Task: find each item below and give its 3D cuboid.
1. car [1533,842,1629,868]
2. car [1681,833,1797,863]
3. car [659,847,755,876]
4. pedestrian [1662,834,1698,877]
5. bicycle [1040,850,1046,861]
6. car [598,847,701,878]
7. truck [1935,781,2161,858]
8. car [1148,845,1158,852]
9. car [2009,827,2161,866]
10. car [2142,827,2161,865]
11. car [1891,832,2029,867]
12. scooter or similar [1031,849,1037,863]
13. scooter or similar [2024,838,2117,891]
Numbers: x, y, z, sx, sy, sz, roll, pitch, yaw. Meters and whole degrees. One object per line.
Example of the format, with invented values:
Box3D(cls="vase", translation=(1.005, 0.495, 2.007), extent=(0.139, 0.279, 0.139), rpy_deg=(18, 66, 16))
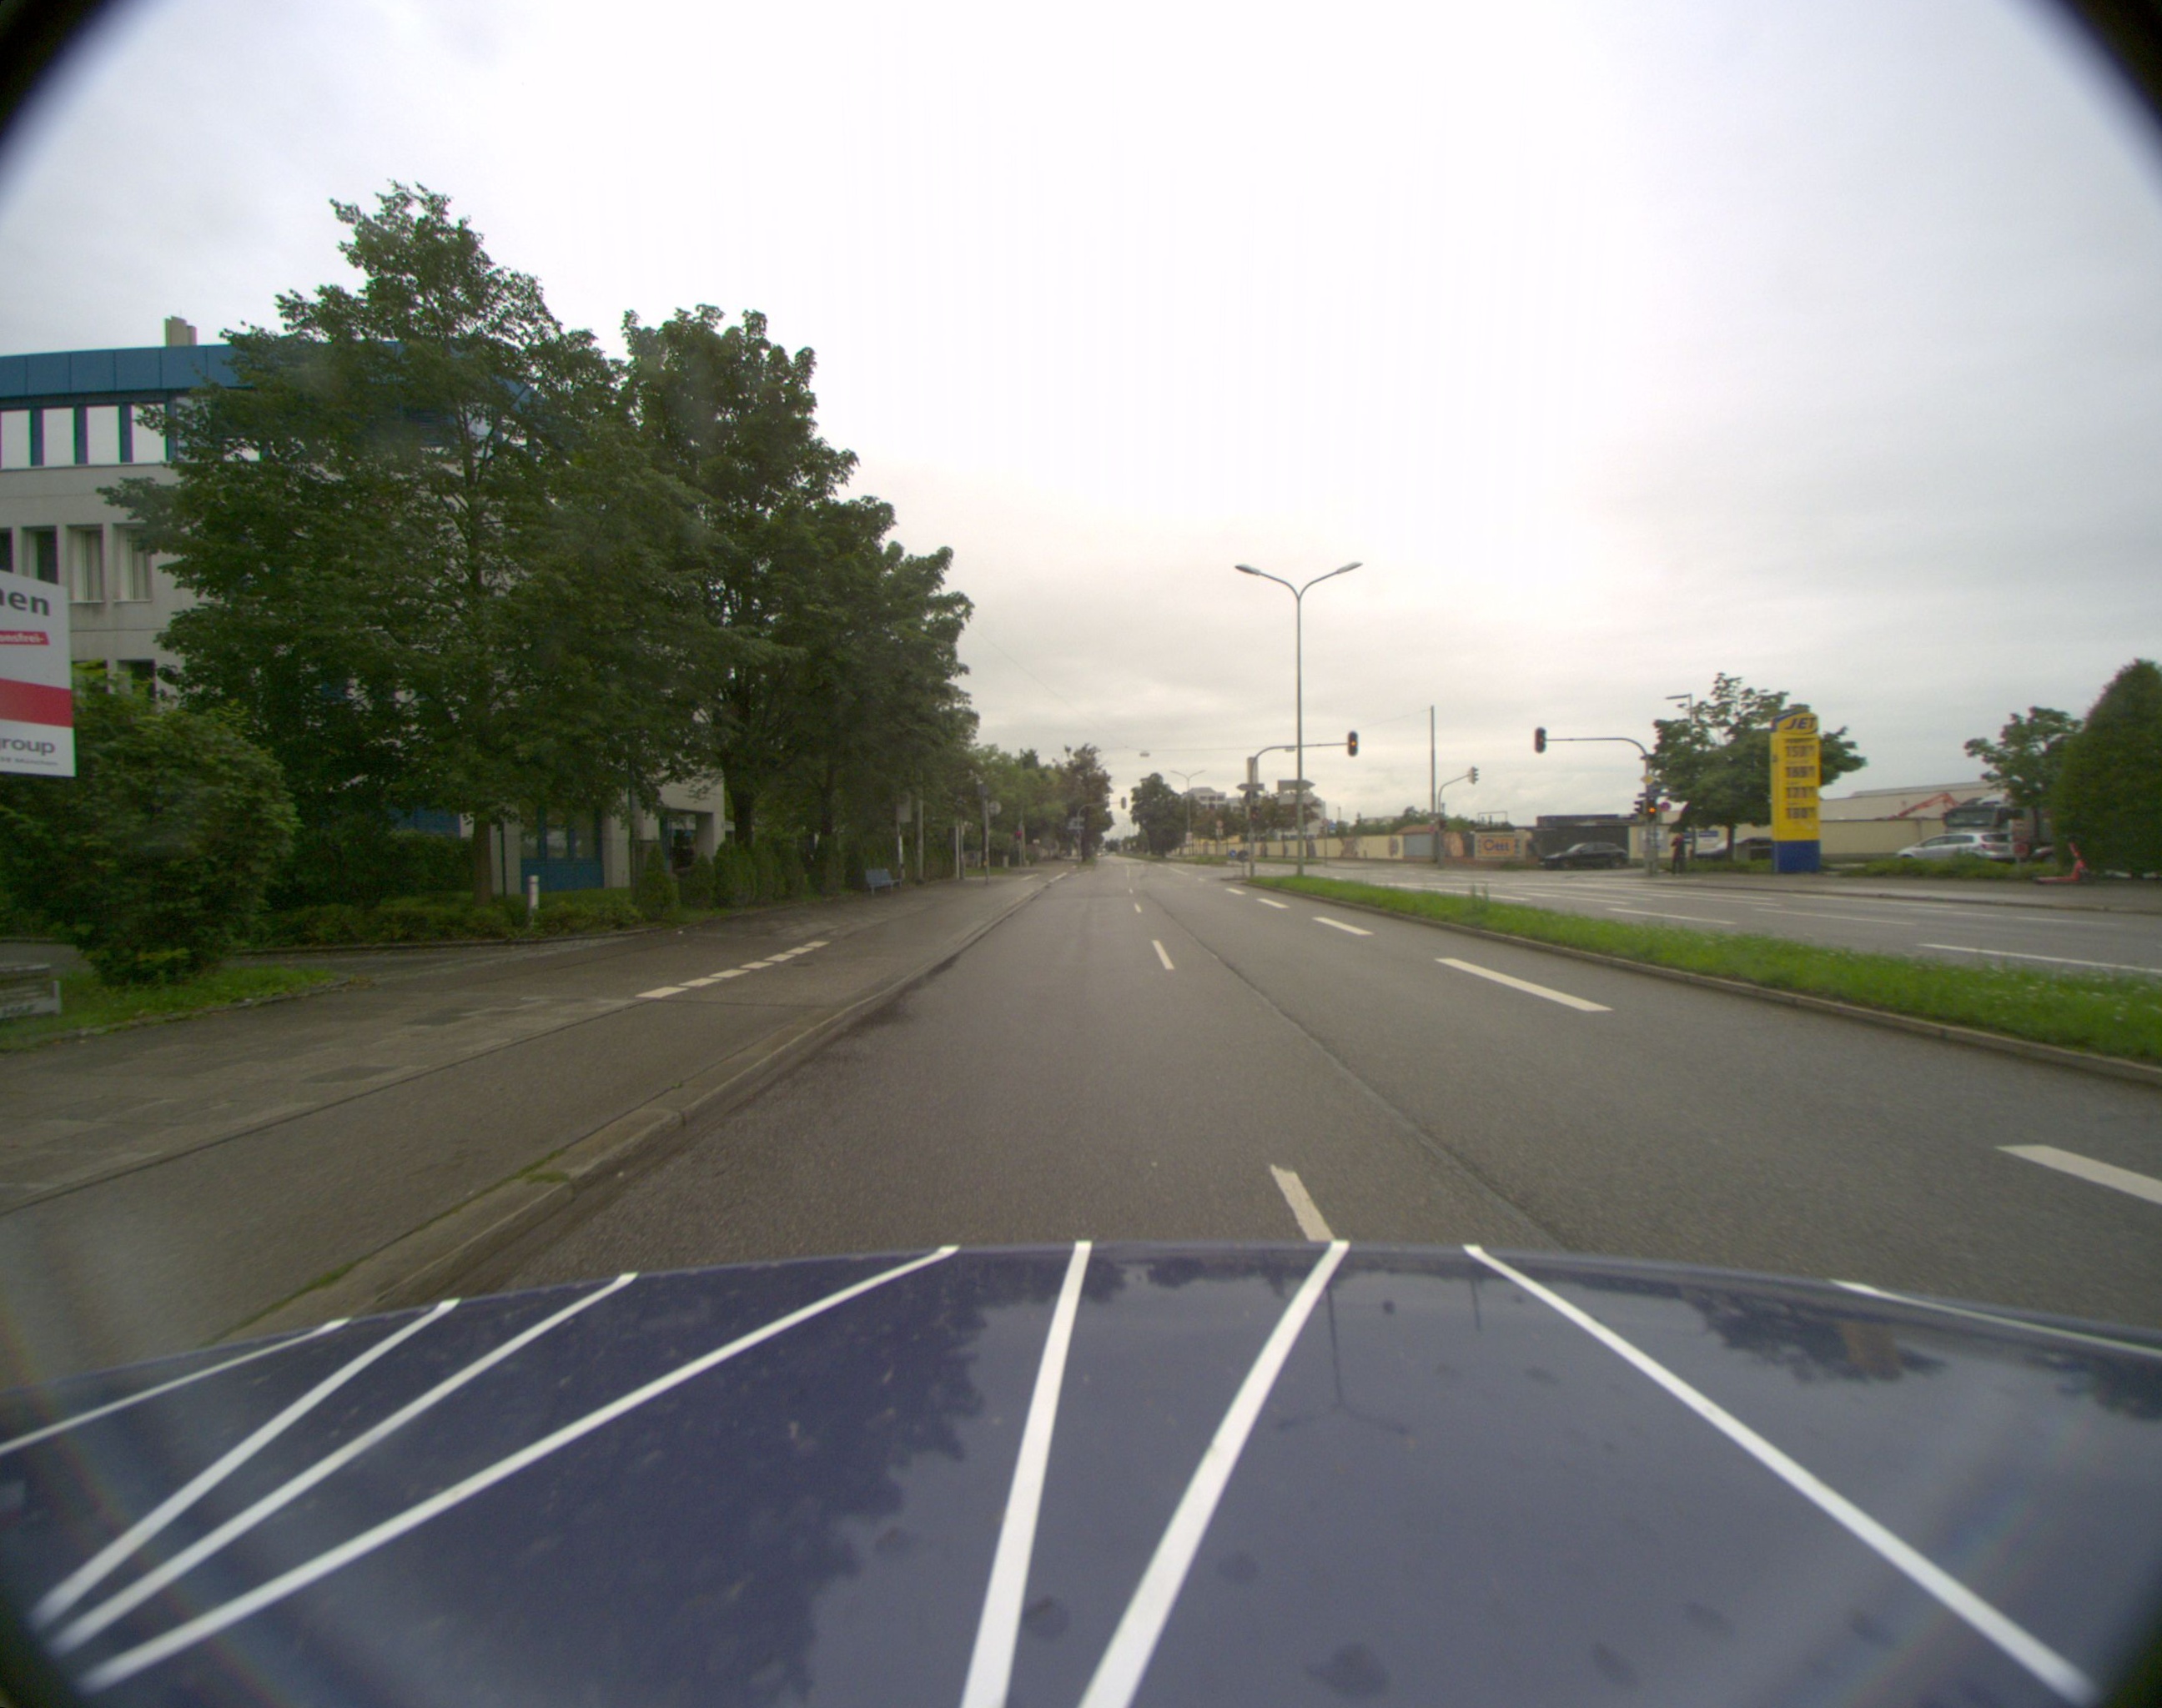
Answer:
Box3D(cls="car", translation=(29.516, 0.037, 44.962), extent=(4.260, 1.419, 2.000), rpy_deg=(-1, 0, 4))
Box3D(cls="car", translation=(36.592, -0.315, 42.358), extent=(4.628, 1.524, 2.000), rpy_deg=(-1, 1, 4))
Box3D(cls="car", translation=(-18.814, 0.359, 38.240), extent=(4.167, 1.410, 1.872), rpy_deg=(0, 1, 18))
Box3D(cls="pedestrian", translation=(23.685, 0.058, 30.066), extent=(0.804, 1.605, 0.687), rpy_deg=(-3, 1, 1))
Box3D(cls="bicycle", translation=(-4.670, 0.183, 93.772), extent=(0.583, 1.288, 2.454), rpy_deg=(0, 1, -1))
Box3D(cls="car", translation=(-20.335, 0.380, 35.822), extent=(4.167, 1.410, 1.872), rpy_deg=(0, 1, 18))
Box3D(cls="truck", translation=(54.407, -1.871, 41.471), extent=(11.923, 3.833, 2.610), rpy_deg=(-1, 1, 4))
Box3D(cls="car", translation=(15.315, -1.226, 161.326), extent=(1.916, 1.498, 4.439), rpy_deg=(0, 0, 2))
Box3D(cls="car", translation=(39.047, -0.290, 28.985), extent=(1.704, 1.376, 4.359), rpy_deg=(0, 0, -8))
Box3D(cls="car", translation=(42.430, -0.301, 27.835), extent=(1.627, 1.477, 3.979), rpy_deg=(0, 0, 3))
Box3D(cls="car", translation=(39.926, -0.200, 34.668), extent=(1.627, 1.477, 3.977), rpy_deg=(0, 0, 0))
Box3D(cls="scooter or similar", translation=(-4.586, 0.194, 74.420), extent=(0.371, 1.416, 1.403), rpy_deg=(0, 1, -14))
Box3D(cls="scooter or similar", translation=(24.398, 0.242, 18.778), extent=(0.356, 1.235, 1.546), rpy_deg=(-3, 0, 6))
